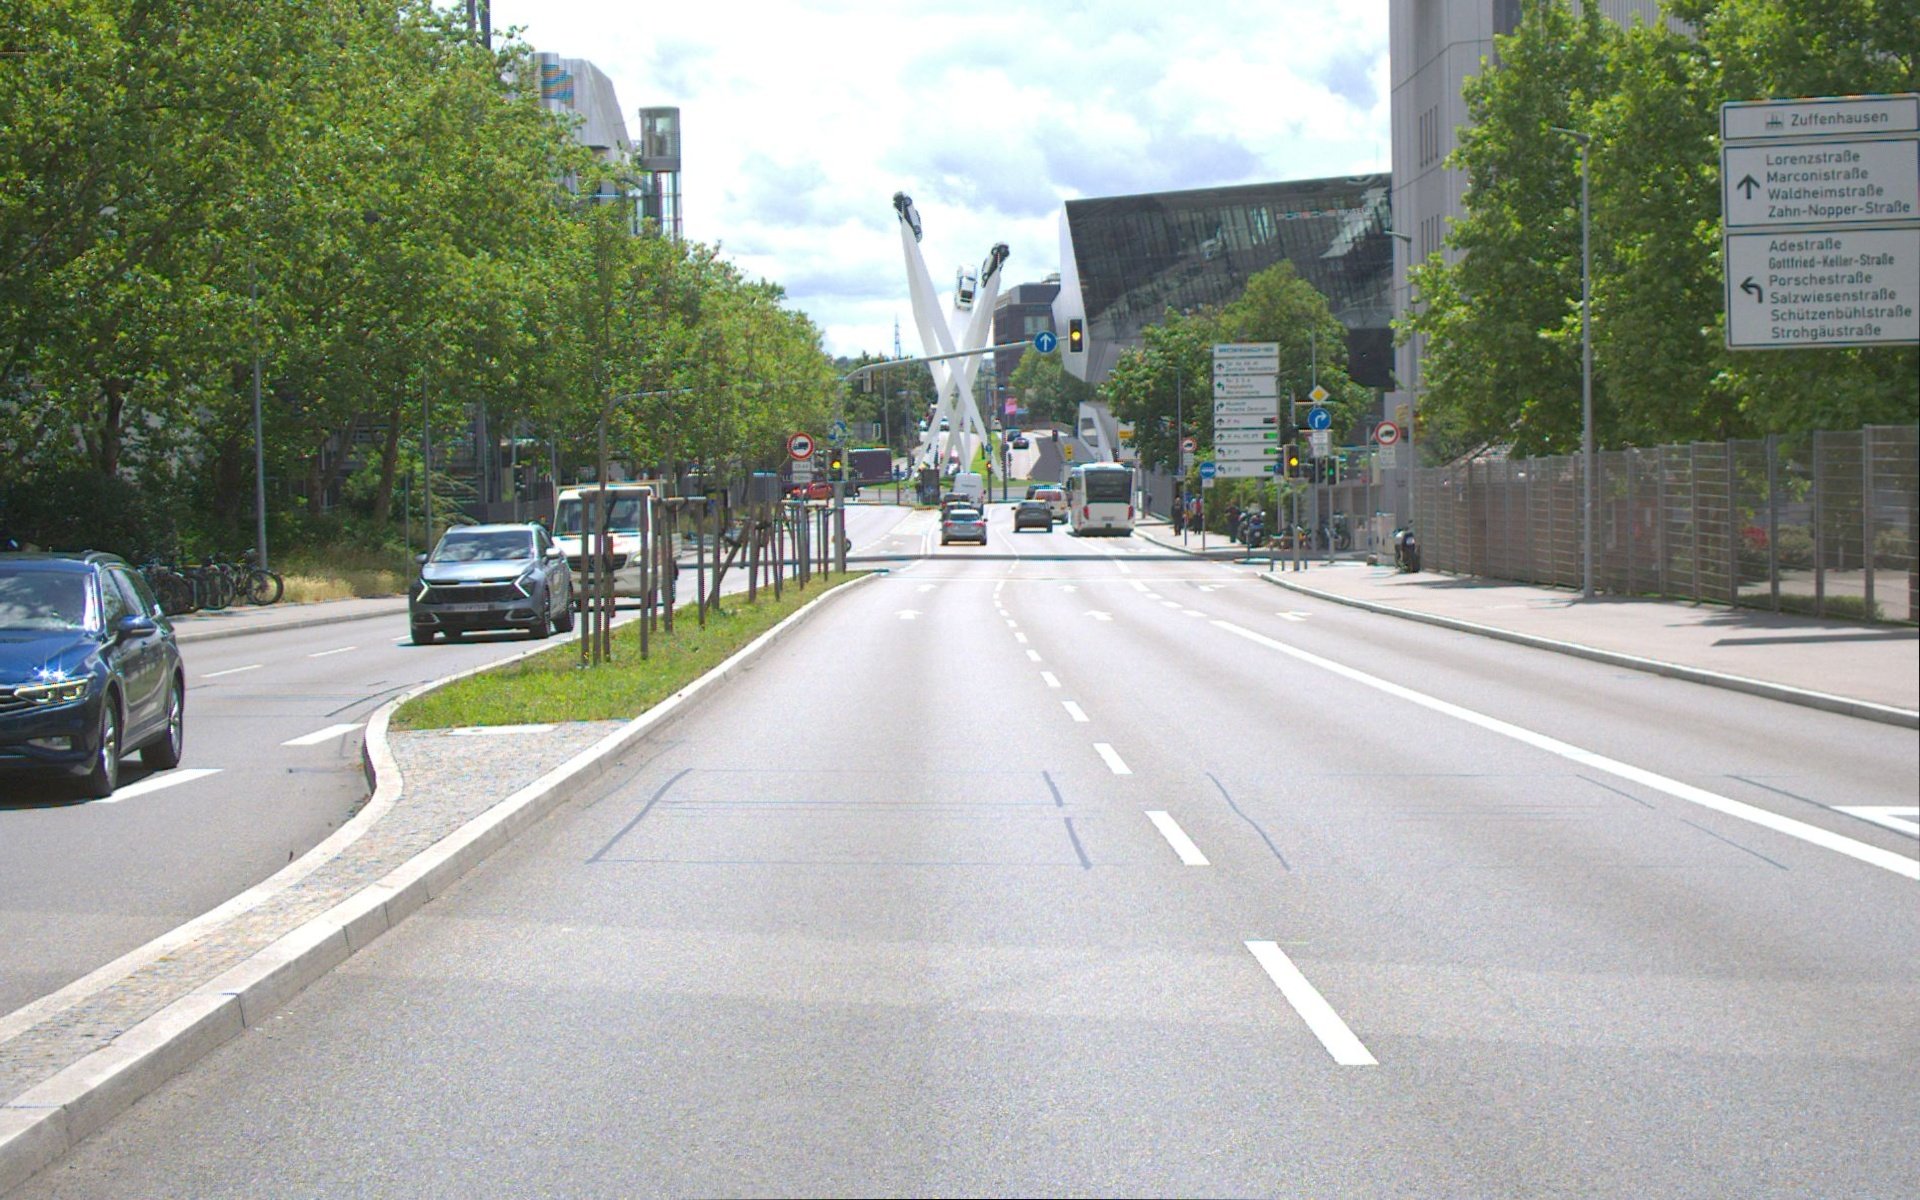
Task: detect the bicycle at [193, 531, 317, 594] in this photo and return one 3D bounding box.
[{"bbox_3d":[-14.264,-0.763,69.562,2.404,1.253,0.556,0,1,2],"label":"bicycle"}]

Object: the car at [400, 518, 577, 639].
[{"bbox_3d":[-6.582,-0.329,48.422,1.905,1.625,4.293,0,1,0],"label":"car"}]

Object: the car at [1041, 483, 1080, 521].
[{"bbox_3d":[5.643,-5.510,193.870,1.993,2.007,4.000,1,0,-1],"label":"car"}]

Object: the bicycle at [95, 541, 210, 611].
[{"bbox_3d":[-14.818,-0.452,63.125,1.918,1.278,0.806,0,1,-1],"label":"bicycle"}]

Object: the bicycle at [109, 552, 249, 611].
[{"bbox_3d":[-15.187,-0.358,66.849,2.566,1.092,0.695,-1,1,10],"label":"bicycle"}]

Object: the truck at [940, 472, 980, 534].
[{"bbox_3d":[0.016,-6.144,219.214,2.392,3.884,6.177,0,1,1],"label":"truck"}]

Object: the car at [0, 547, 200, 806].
[{"bbox_3d":[-5.974,0.400,21.697,1.708,1.448,4.480,0,1,-5],"label":"car"}]

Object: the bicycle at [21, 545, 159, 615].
[{"bbox_3d":[-14.695,-0.344,58.077,2.133,1.176,0.806,0,1,-1],"label":"bicycle"}]

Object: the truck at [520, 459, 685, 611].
[{"bbox_3d":[-6.774,-1.247,65.950,2.479,2.741,6.459,-1,1,0],"label":"truck"}]

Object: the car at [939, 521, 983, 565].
[{"bbox_3d":[0.065,-2.341,140.524,1.738,1.735,3.691,0,1,1],"label":"car"}]

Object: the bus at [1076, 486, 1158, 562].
[{"bbox_3d":[7.424,-3.644,164.351,3.452,3.531,10.607,0,1,0],"label":"bus"}]

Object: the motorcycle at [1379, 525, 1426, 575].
[{"bbox_3d":[10.605,-1.200,82.445,0.692,1.154,2.148,-2,1,-4],"label":"motorcycle"}]

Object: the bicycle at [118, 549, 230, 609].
[{"bbox_3d":[-14.648,-0.398,64.118,1.918,1.118,0.806,0,1,-1],"label":"bicycle"}]

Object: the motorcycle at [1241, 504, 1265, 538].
[{"bbox_3d":[10.740,-2.900,126.237,0.706,1.199,2.024,-2,2,1],"label":"motorcycle"}]

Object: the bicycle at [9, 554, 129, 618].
[{"bbox_3d":[-15.206,-0.239,58.690,1.924,1.071,0.422,0,1,-1],"label":"bicycle"}]

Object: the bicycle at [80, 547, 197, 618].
[{"bbox_3d":[-14.784,-0.321,61.908,1.918,1.278,0.806,0,1,-1],"label":"bicycle"}]

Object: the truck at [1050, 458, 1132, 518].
[{"bbox_3d":[9.706,-8.199,252.901,3.456,4.376,9.412,1,1,19],"label":"truck"}]

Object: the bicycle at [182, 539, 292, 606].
[{"bbox_3d":[-14.847,-0.563,70.607,2.167,1.359,0.490,0,1,2],"label":"bicycle"}]

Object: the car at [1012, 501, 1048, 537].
[{"bbox_3d":[3.388,-3.920,166.859,1.738,1.735,3.691,0,1,1],"label":"car"}]

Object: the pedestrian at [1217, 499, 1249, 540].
[{"bbox_3d":[10.772,-3.173,135.660,0.849,1.619,0.954,1,2,42],"label":"pedestrian"}]

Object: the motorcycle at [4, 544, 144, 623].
[{"bbox_3d":[-14.726,-0.277,57.171,2.133,1.304,0.806,0,1,-1],"label":"motorcycle"}]

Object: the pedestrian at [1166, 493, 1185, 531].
[{"bbox_3d":[9.515,-3.882,151.866,0.820,1.701,0.881,0,1,1],"label":"pedestrian"}]

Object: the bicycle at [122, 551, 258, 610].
[{"bbox_3d":[-15.411,-0.398,68.833,2.566,1.153,0.725,0,1,10],"label":"bicycle"}]
